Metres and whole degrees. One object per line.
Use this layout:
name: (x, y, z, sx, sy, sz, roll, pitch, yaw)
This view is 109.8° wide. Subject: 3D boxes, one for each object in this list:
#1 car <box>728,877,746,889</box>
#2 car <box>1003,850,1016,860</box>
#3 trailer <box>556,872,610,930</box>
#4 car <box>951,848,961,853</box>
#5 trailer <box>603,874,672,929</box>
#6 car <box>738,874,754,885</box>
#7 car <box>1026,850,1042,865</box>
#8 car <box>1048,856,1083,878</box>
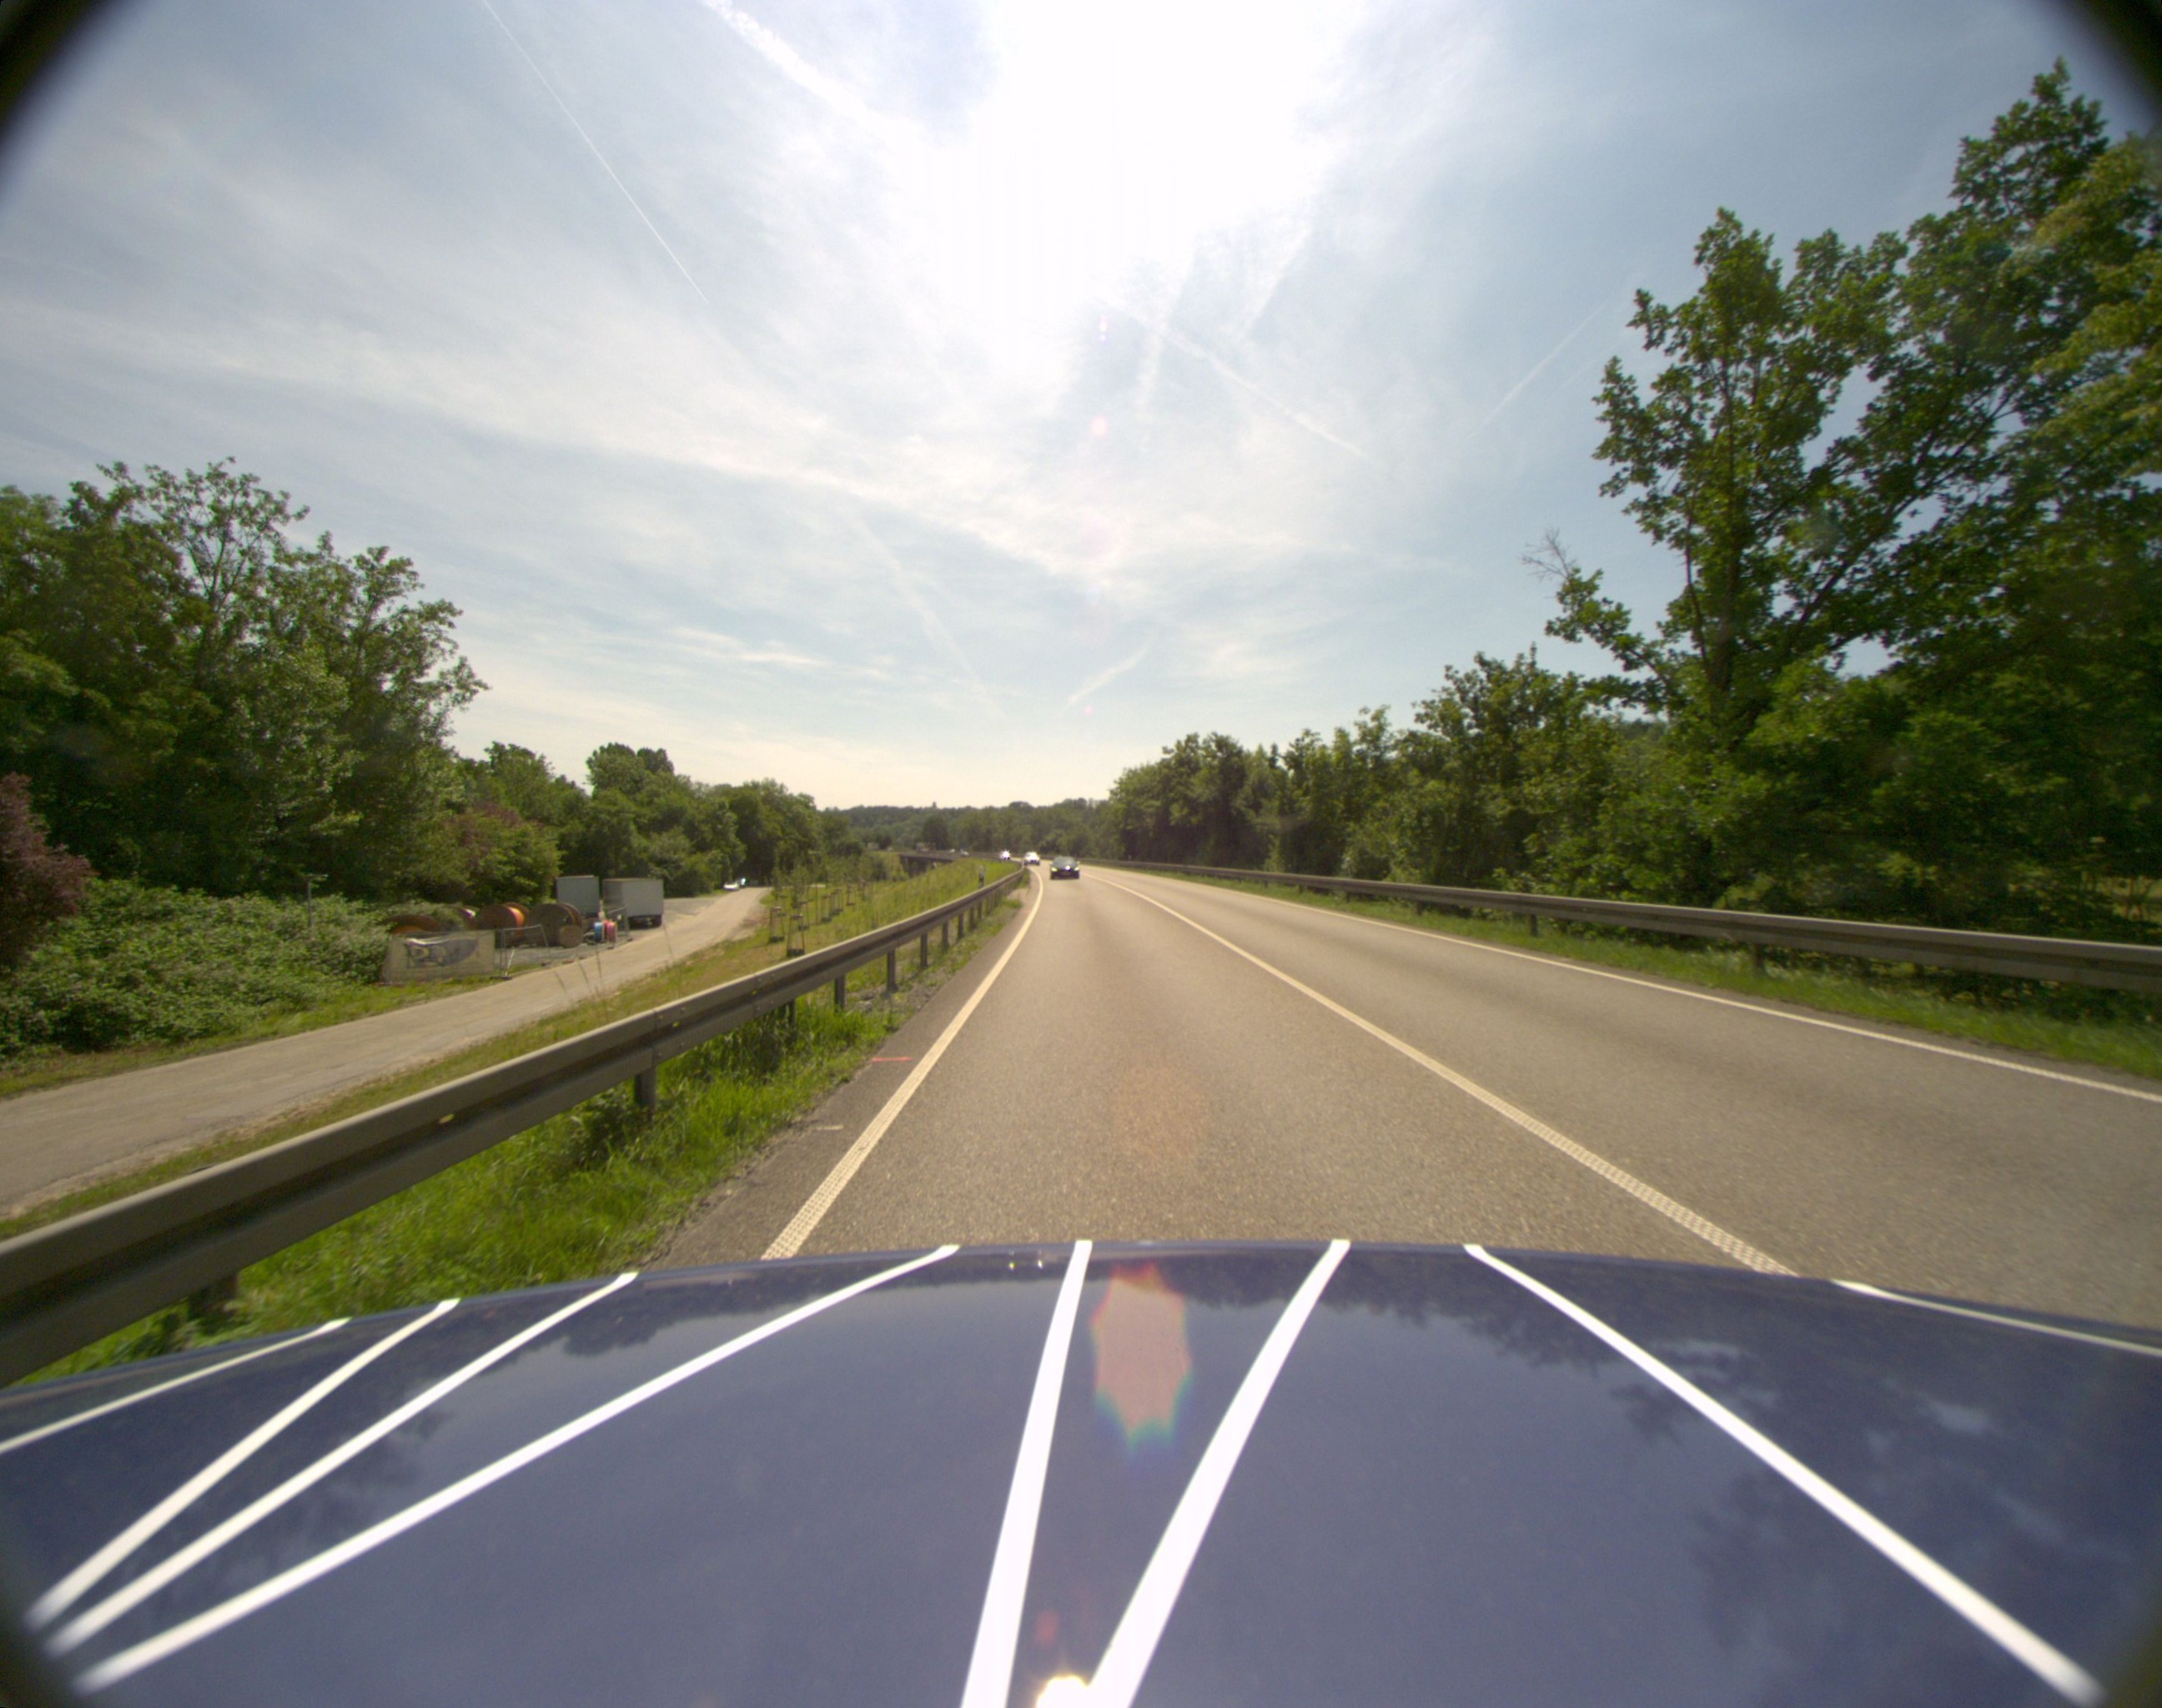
car: (-51.285, 4.300, 113.340, 1.865, 1.474, 4.600, 2, -1, -18)
car: (-12.996, 0.186, 137.603, 1.982, 1.723, 3.995, -1, 2, -10)
trailer: (-36.870, 3.281, 56.046, 2.732, 3.586, 11.864, -3, 1, -36)
car: (-38.598, -1.137, 234.368, 1.776, 1.485, 4.160, -2, 1, -26)
trailer: (-32.220, 3.255, 54.903, 2.732, 3.309, 11.863, -2, 1, -38)
car: (-54.677, 4.216, 124.096, 1.865, 1.672, 4.194, 2, -1, -16)
car: (-6.137, 0.406, 98.586, 1.981, 1.779, 3.998, -1, 1, -5)
car: (-1.037, 0.820, 49.319, 1.981, 1.333, 3.998, -1, 0, -4)
